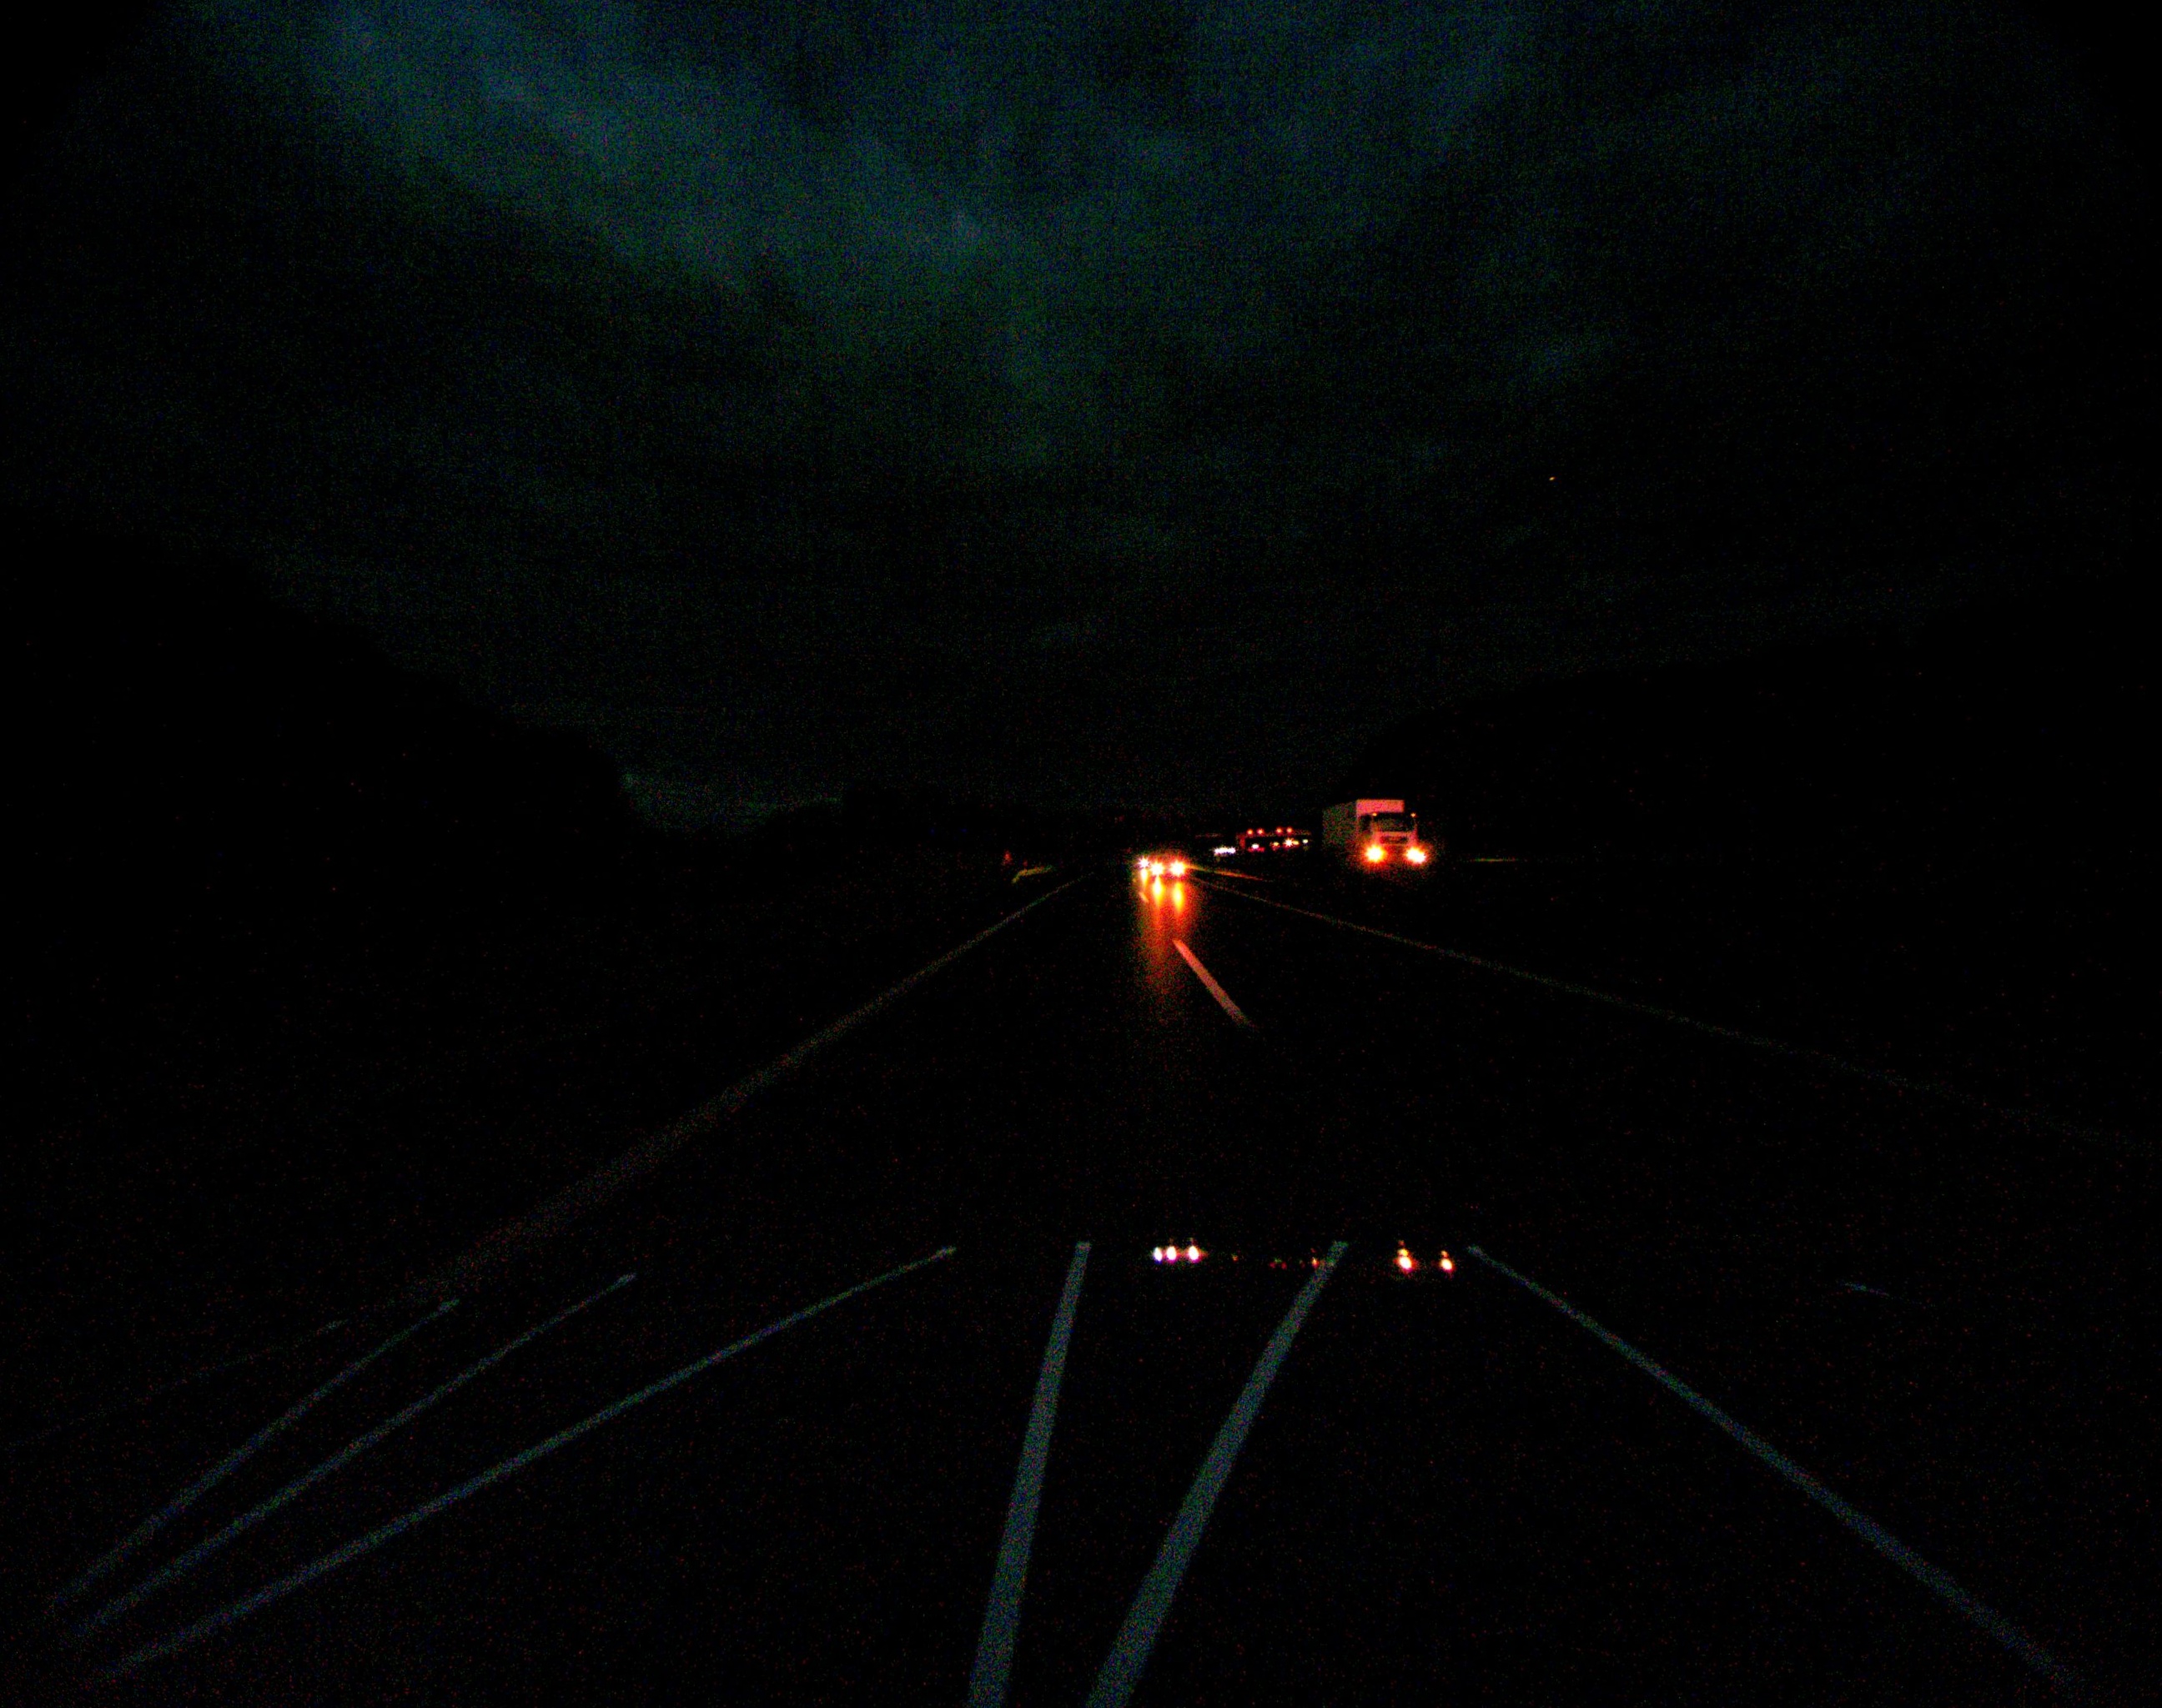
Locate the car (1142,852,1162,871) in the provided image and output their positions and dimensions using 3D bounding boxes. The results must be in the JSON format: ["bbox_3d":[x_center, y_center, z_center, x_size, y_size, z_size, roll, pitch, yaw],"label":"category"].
[{"bbox_3d":[7.843,0.796,84.339,1.998,2.002,4.000,-2,1,4],"label":"car"}]

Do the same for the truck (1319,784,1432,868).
[{"bbox_3d":[16.883,-1.494,44.560,3.045,4.276,9.891,-2,1,2],"label":"truck"}]

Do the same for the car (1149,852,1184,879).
[{"bbox_3d":[5.322,0.684,47.687,1.669,1.551,3.756,-2,0,-1],"label":"car"}]
